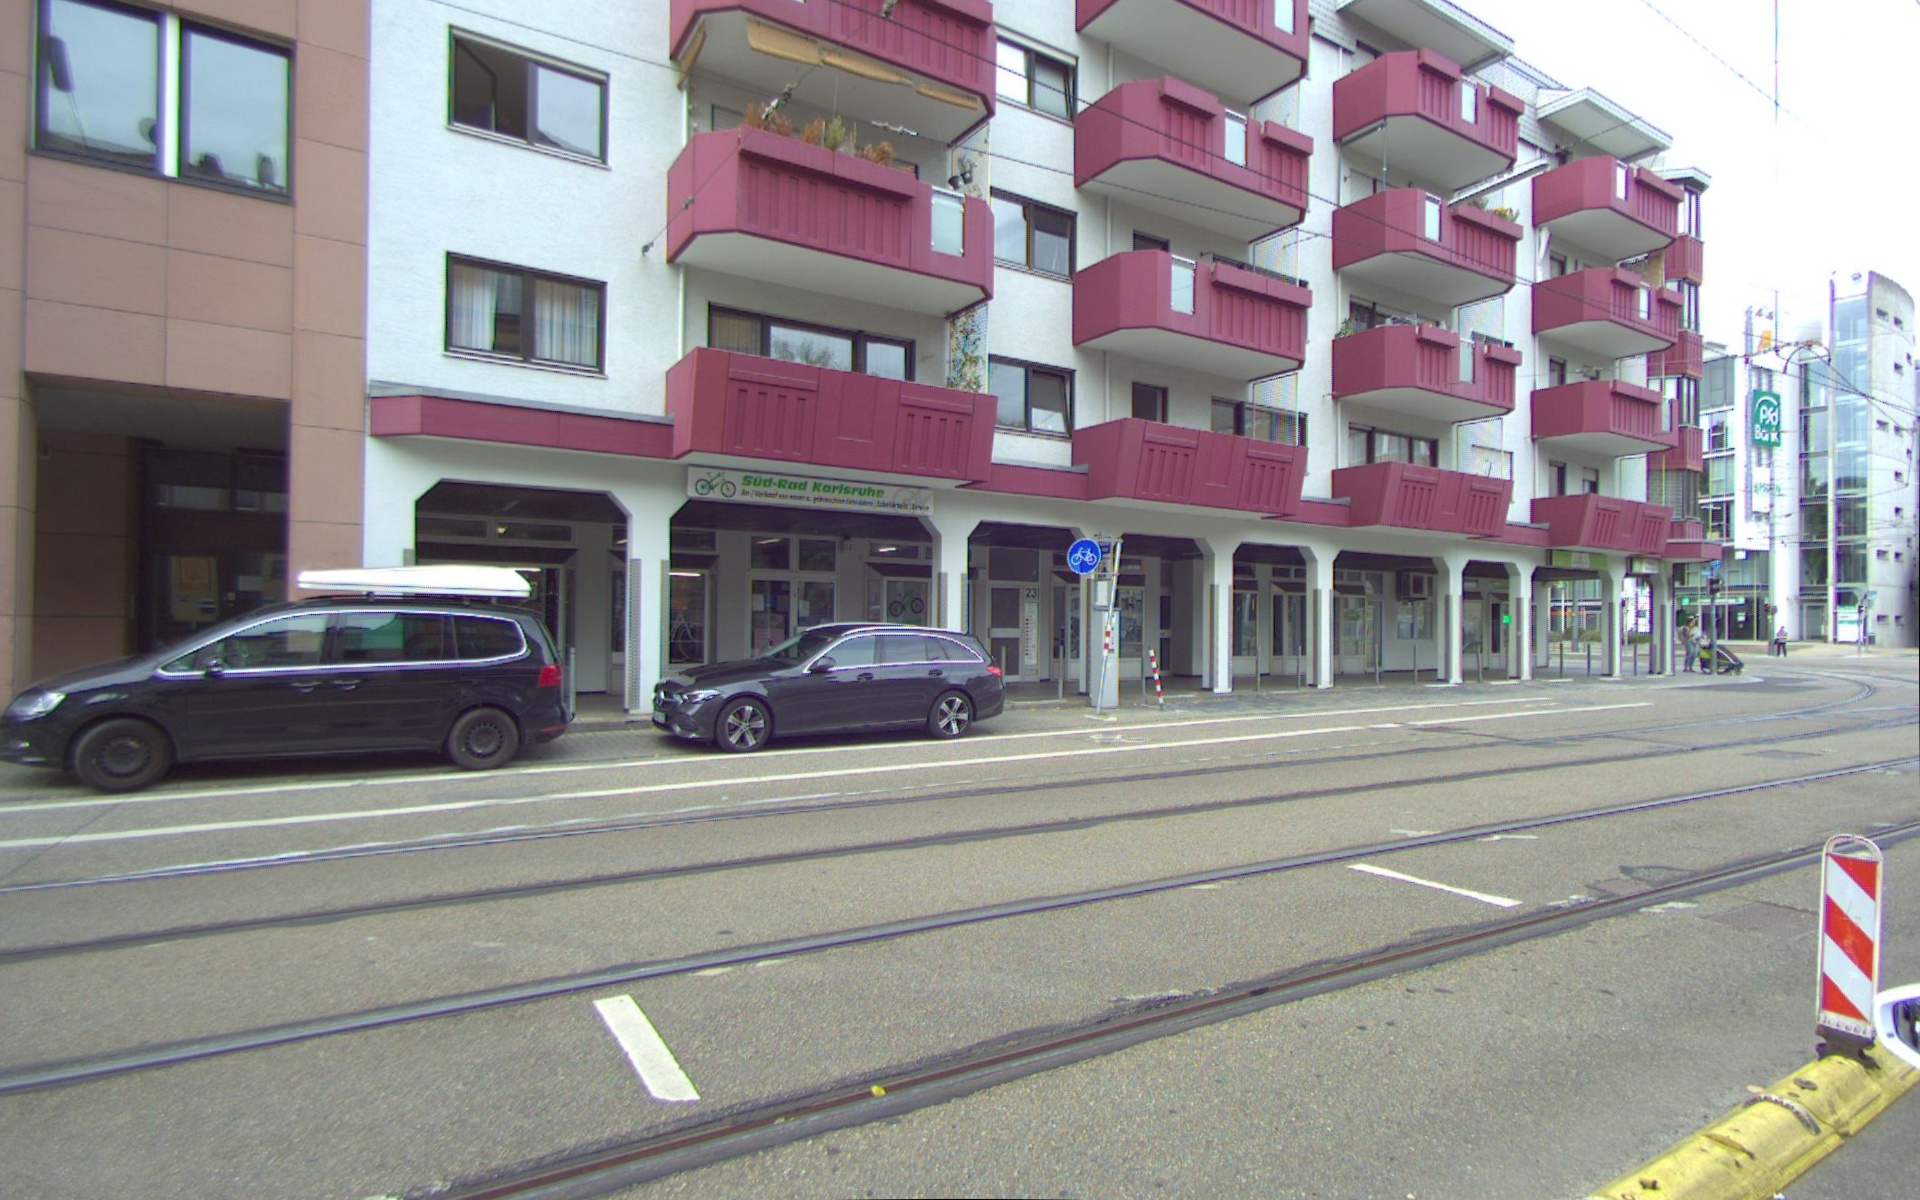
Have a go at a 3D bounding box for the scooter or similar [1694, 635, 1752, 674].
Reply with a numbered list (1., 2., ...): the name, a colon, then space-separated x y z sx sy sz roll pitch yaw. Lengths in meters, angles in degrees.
1. scooter or similar: 23.908 1.692 31.480 0.936 1.143 1.189 1 0 -32

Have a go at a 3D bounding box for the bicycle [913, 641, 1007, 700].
1. bicycle: 0.021 1.192 17.330 1.636 0.966 0.560 1 -1 -39

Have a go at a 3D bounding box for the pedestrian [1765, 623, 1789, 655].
1. pedestrian: 49.427 2.350 60.753 0.754 1.889 0.833 1 -1 -17

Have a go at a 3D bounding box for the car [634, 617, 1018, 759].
1. car: -1.649 1.027 13.048 4.645 1.500 1.745 1 1 -32

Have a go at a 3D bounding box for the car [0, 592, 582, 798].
1. car: -6.471 0.816 10.237 4.645 1.669 1.797 1 1 -32

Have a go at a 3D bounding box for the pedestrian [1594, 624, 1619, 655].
1. pedestrian: 36.068 2.178 56.033 0.753 1.693 0.935 1 -1 -17

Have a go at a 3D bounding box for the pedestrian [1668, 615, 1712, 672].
1. pedestrian: 23.415 1.383 32.231 0.803 1.766 0.942 1 -1 -33
